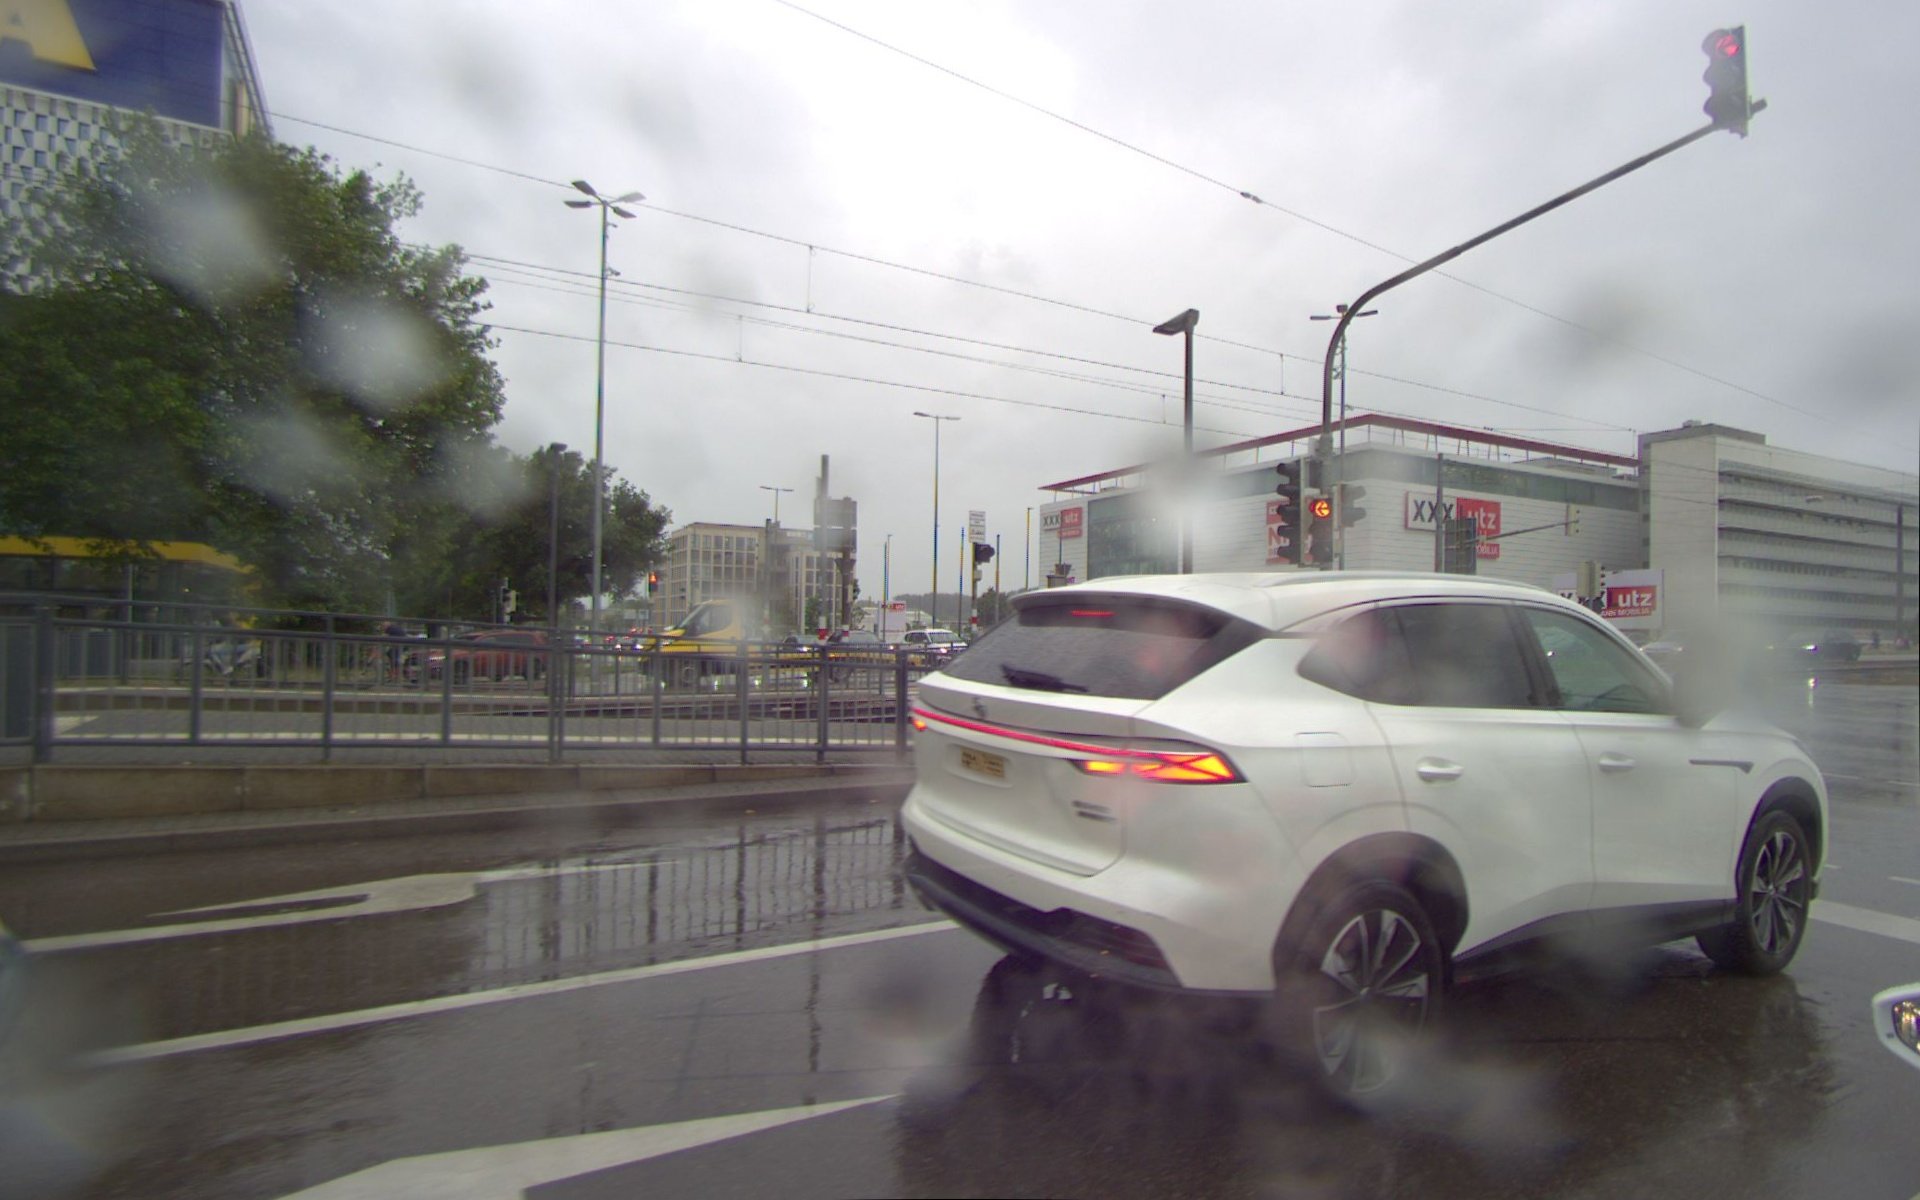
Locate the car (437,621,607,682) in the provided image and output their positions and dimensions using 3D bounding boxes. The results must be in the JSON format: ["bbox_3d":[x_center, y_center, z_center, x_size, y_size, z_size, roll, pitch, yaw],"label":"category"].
[{"bbox_3d":[-14.056,1.587,32.599,1.962,1.588,5.056,1,1,24],"label":"car"}]

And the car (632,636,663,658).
[{"bbox_3d":[-26.437,3.921,84.869,1.796,1.561,4.258,0,1,-27],"label":"car"}]

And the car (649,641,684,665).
[{"bbox_3d":[-22.327,4.005,76.426,1.796,1.561,4.258,0,1,-27],"label":"car"}]

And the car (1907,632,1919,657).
[{"bbox_3d":[51.499,2.314,52.464,4.407,1.266,1.704,0,1,-29],"label":"car"}]

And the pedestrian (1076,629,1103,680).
[{"bbox_3d":[5.257,2.207,40.877,0.843,2.040,0.783,2,0,-12],"label":"pedestrian"}]

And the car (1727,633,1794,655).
[{"bbox_3d":[50.737,2.767,63.680,3.992,1.266,1.707,0,1,-25],"label":"car"}]

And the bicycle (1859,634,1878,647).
[{"bbox_3d":[75.381,3.325,83.331,1.537,1.029,0.665,1,1,-30],"label":"bicycle"}]

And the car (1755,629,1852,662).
[{"bbox_3d":[36.802,1.948,43.805,3.992,1.266,1.707,0,1,-25],"label":"car"}]

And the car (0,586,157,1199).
[{"bbox_3d":[-3.929,0.655,0.994,4.641,1.432,1.703,1,0,-30],"label":"car"}]

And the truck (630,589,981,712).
[{"bbox_3d":[-4.102,1.433,27.447,8.974,2.886,2.732,4,-1,-26],"label":"truck"}]

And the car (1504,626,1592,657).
[{"bbox_3d":[26.922,1.888,46.003,3.861,1.266,1.577,0,1,-25],"label":"car"}]

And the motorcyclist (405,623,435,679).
[{"bbox_3d":[-15.331,1.434,28.515,0.651,1.542,0.859,0,1,-37],"label":"motorcyclist"}]

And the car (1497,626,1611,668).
[{"bbox_3d":[22.045,1.708,37.276,4.143,1.385,1.577,0,1,-25],"label":"car"}]

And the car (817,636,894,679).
[{"bbox_3d":[-4.440,2.358,42.011,1.796,1.561,4.259,0,-1,-27],"label":"car"}]

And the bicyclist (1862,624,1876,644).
[{"bbox_3d":[75.425,2.847,83.345,0.782,1.611,0.668,1,1,-29],"label":"bicyclist"}]

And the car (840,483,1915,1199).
[{"bbox_3d":[1.953,0.658,4.344,4.500,1.812,1.979,1,0,-30],"label":"car"}]

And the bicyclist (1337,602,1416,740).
[{"bbox_3d":[5.531,0.909,13.346,0.784,1.755,0.613,0,2,-32],"label":"bicyclist"}]

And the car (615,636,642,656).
[{"bbox_3d":[-30.651,4.245,92.863,1.796,1.561,4.258,0,1,-27],"label":"car"}]

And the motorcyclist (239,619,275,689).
[{"bbox_3d":[-16.320,1.236,23.329,0.651,1.542,0.859,0,1,-35],"label":"motorcyclist"}]

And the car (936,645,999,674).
[{"bbox_3d":[0.407,3.465,58.793,2.010,1.426,4.193,2,0,-27],"label":"car"}]

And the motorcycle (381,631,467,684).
[{"bbox_3d":[-15.234,1.606,28.593,2.062,1.372,0.856,0,1,-38],"label":"motorcycle"}]

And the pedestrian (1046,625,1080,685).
[{"bbox_3d":[4.069,2.157,39.708,0.973,2.274,0.918,3,1,-16],"label":"pedestrian"}]

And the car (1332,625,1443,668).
[{"bbox_3d":[15.787,1.698,37.095,3.861,1.433,1.577,0,1,-25],"label":"car"}]

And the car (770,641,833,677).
[{"bbox_3d":[-7.784,2.848,48.928,1.796,1.561,4.259,0,-1,-27],"label":"car"}]

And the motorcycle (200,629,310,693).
[{"bbox_3d":[-16.326,1.391,23.326,2.060,1.372,0.857,0,1,-35],"label":"motorcycle"}]

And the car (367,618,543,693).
[{"bbox_3d":[-13.404,1.407,26.753,3.964,1.741,1.755,0,1,-38],"label":"car"}]

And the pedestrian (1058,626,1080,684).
[{"bbox_3d":[4.125,2.063,37.972,0.622,2.164,0.569,0,2,-16],"label":"pedestrian"}]

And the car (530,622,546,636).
[{"bbox_3d":[-65.414,4.467,155.733,1.975,2.040,3.971,2,0,-28],"label":"car"}]

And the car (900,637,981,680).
[{"bbox_3d":[-0.909,2.491,43.390,1.796,1.561,4.432,0,0,-27],"label":"car"}]

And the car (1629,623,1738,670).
[{"bbox_3d":[29.222,1.840,40.542,4.370,1.731,1.706,0,1,-26],"label":"car"}]

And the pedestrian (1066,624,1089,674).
[{"bbox_3d":[4.880,2.045,41.751,0.658,2.040,0.767,2,0,-15],"label":"pedestrian"}]

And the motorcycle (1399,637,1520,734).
[{"bbox_3d":[6.684,1.135,13.461,1.376,1.238,0.527,0,1,-10],"label":"motorcycle"}]

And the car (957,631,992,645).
[{"bbox_3d":[1.755,4.654,123.331,3.959,1.582,1.751,2,0,-30],"label":"car"}]
